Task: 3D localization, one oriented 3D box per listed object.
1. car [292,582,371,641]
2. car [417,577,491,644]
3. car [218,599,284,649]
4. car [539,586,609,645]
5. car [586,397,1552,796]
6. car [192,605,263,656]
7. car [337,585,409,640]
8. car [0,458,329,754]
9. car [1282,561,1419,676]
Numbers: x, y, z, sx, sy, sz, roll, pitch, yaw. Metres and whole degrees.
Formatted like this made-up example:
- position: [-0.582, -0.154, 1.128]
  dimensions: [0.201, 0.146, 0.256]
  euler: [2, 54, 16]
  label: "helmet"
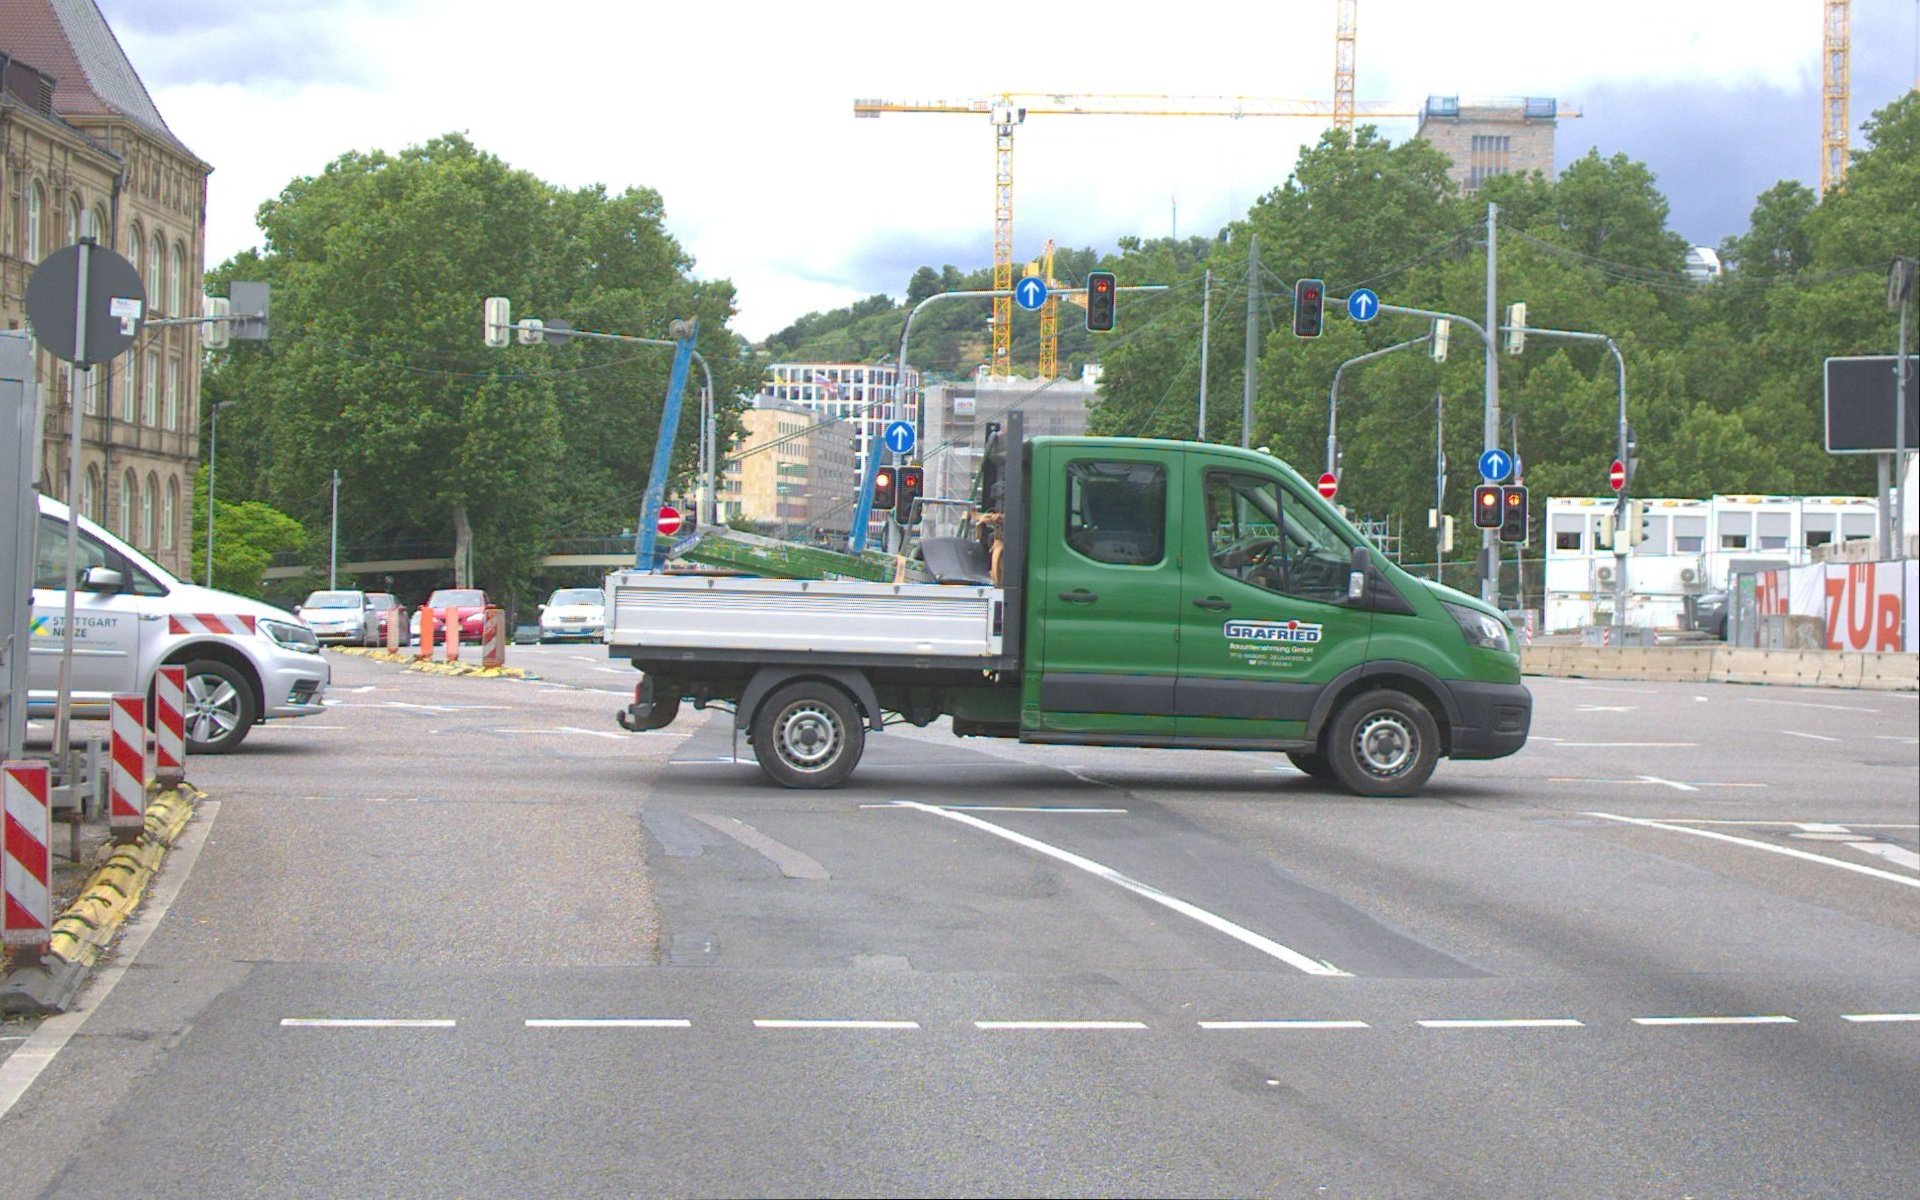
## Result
- position: [-15.641, 0.276, 85.639]
  dimensions: [1.675, 1.393, 3.684]
  euler: [1, 1, -7]
  label: "car"
- position: [-12.446, 0.240, 84.729]
  dimensions: [1.675, 1.575, 3.684]
  euler: [1, 1, -7]
  label: "car"
- position: [-22.368, 0.777, 108.544]
  dimensions: [1.675, 1.394, 3.683]
  euler: [0, -3, -6]
  label: "car"
- position: [-9.558, 0.367, 85.064]
  dimensions: [1.675, 1.393, 3.684]
  euler: [1, 1, -7]
  label: "car"
- position: [0.586, -0.019, 21.628]
  dimensions: [5.757, 2.297, 2.304]
  euler: [1, 0, -5]
  label: "car"
- position: [-21.427, 0.885, 100.660]
  dimensions: [1.675, 1.393, 3.684]
  euler: [1, 1, -7]
  label: "car"
- position: [-15.660, 0.315, 91.801]
  dimensions: [1.675, 1.393, 3.684]
  euler: [1, 1, -7]
  label: "car"
- position: [-6.439, 0.026, 22.666]
  dimensions: [4.265, 1.875, 1.831]
  euler: [1, 0, -17]
  label: "car"
- position: [5.989, 0.263, 53.057]
  dimensions: [1.676, 1.696, 3.374]
  euler: [1, 1, -1]
  label: "car"
